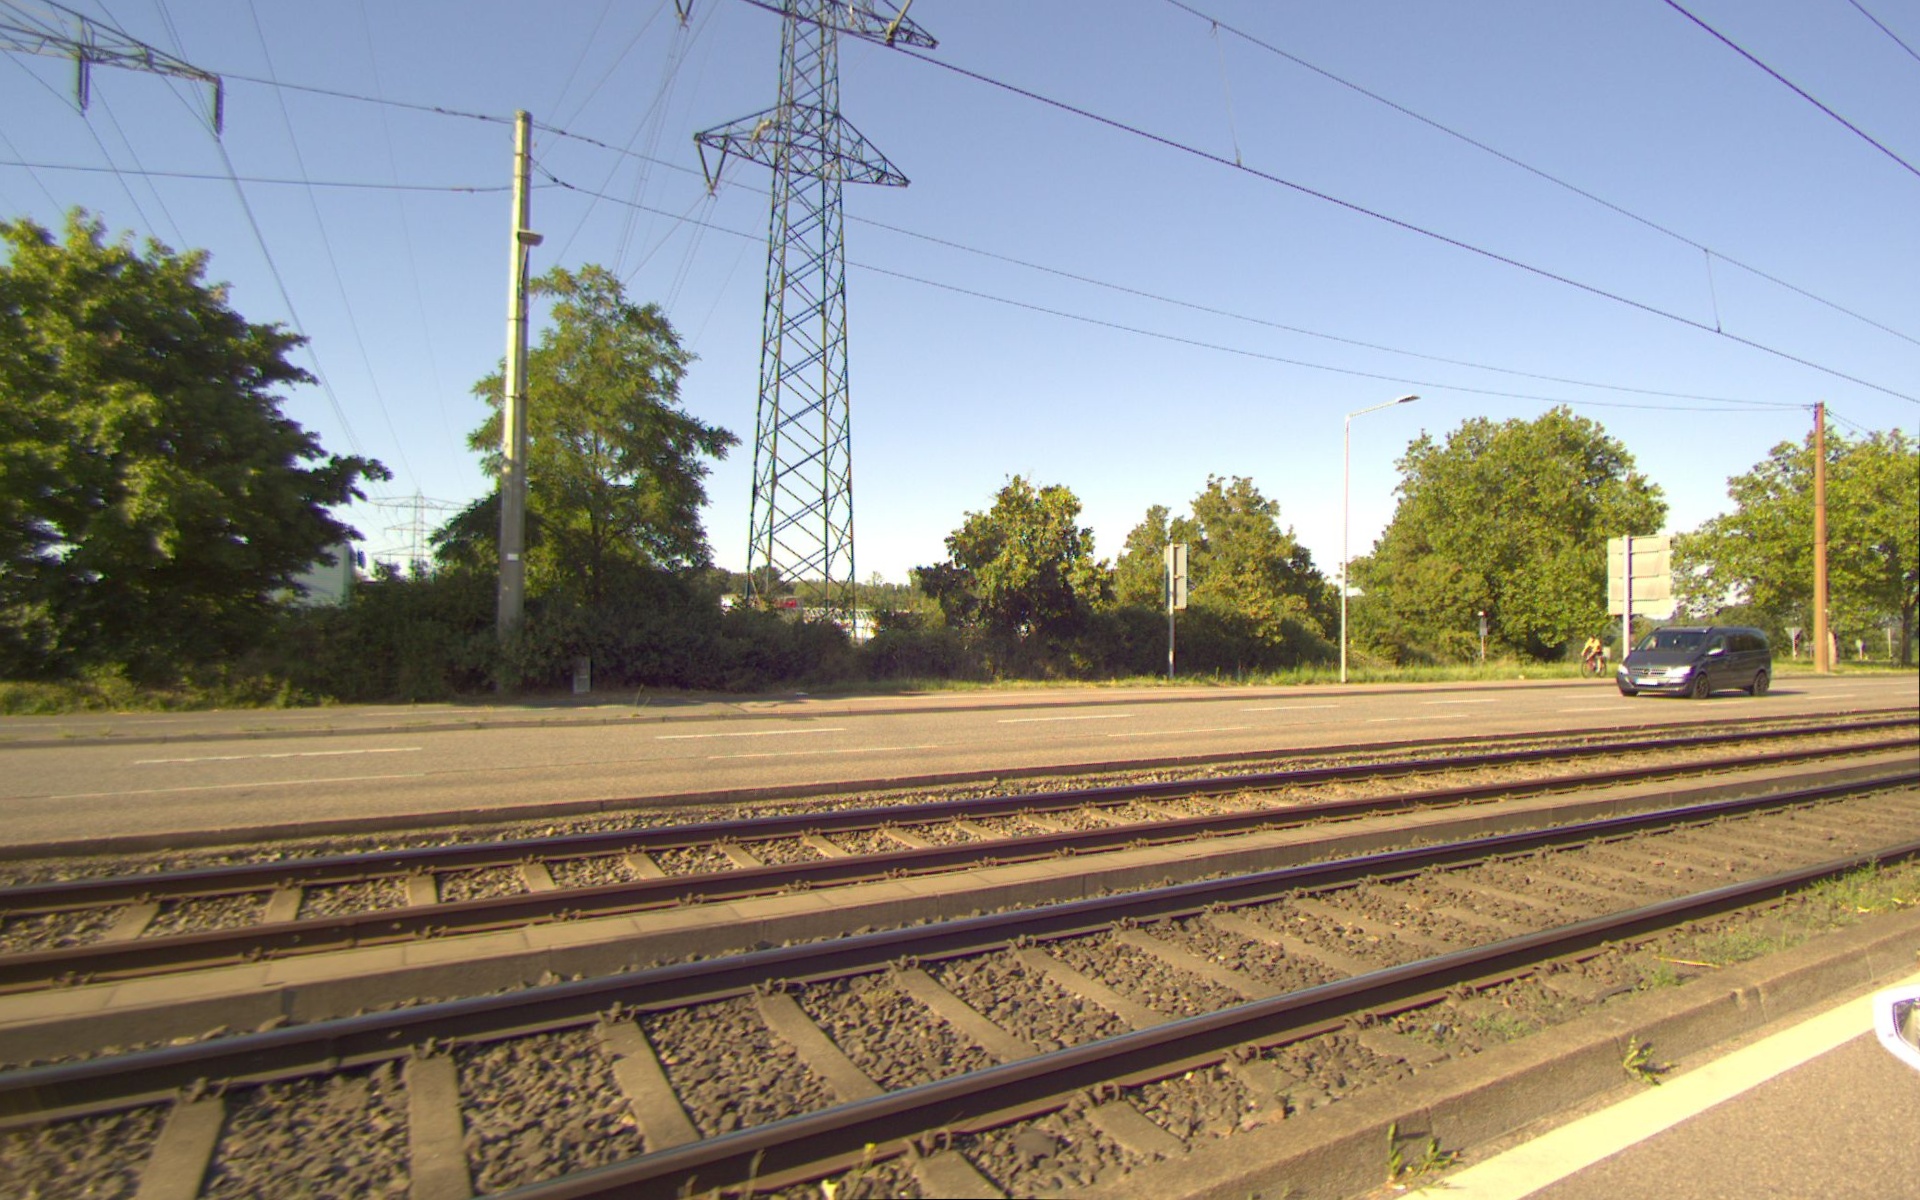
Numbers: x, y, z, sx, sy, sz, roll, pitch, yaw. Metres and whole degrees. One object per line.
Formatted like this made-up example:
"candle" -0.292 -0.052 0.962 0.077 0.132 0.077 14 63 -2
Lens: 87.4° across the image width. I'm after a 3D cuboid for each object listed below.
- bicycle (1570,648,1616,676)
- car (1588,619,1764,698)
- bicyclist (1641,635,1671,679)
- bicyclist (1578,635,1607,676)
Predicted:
"bicycle" 24.221 2.376 38.429 2.160 1.035 0.587 2 -2 -31
"car" 19.299 1.561 27.038 4.800 1.948 1.985 2 -2 -29
"bicyclist" 26.523 2.163 38.274 0.956 1.632 0.587 2 -2 -31
"bicyclist" 24.193 2.109 38.416 0.896 1.548 0.587 2 -2 -31
